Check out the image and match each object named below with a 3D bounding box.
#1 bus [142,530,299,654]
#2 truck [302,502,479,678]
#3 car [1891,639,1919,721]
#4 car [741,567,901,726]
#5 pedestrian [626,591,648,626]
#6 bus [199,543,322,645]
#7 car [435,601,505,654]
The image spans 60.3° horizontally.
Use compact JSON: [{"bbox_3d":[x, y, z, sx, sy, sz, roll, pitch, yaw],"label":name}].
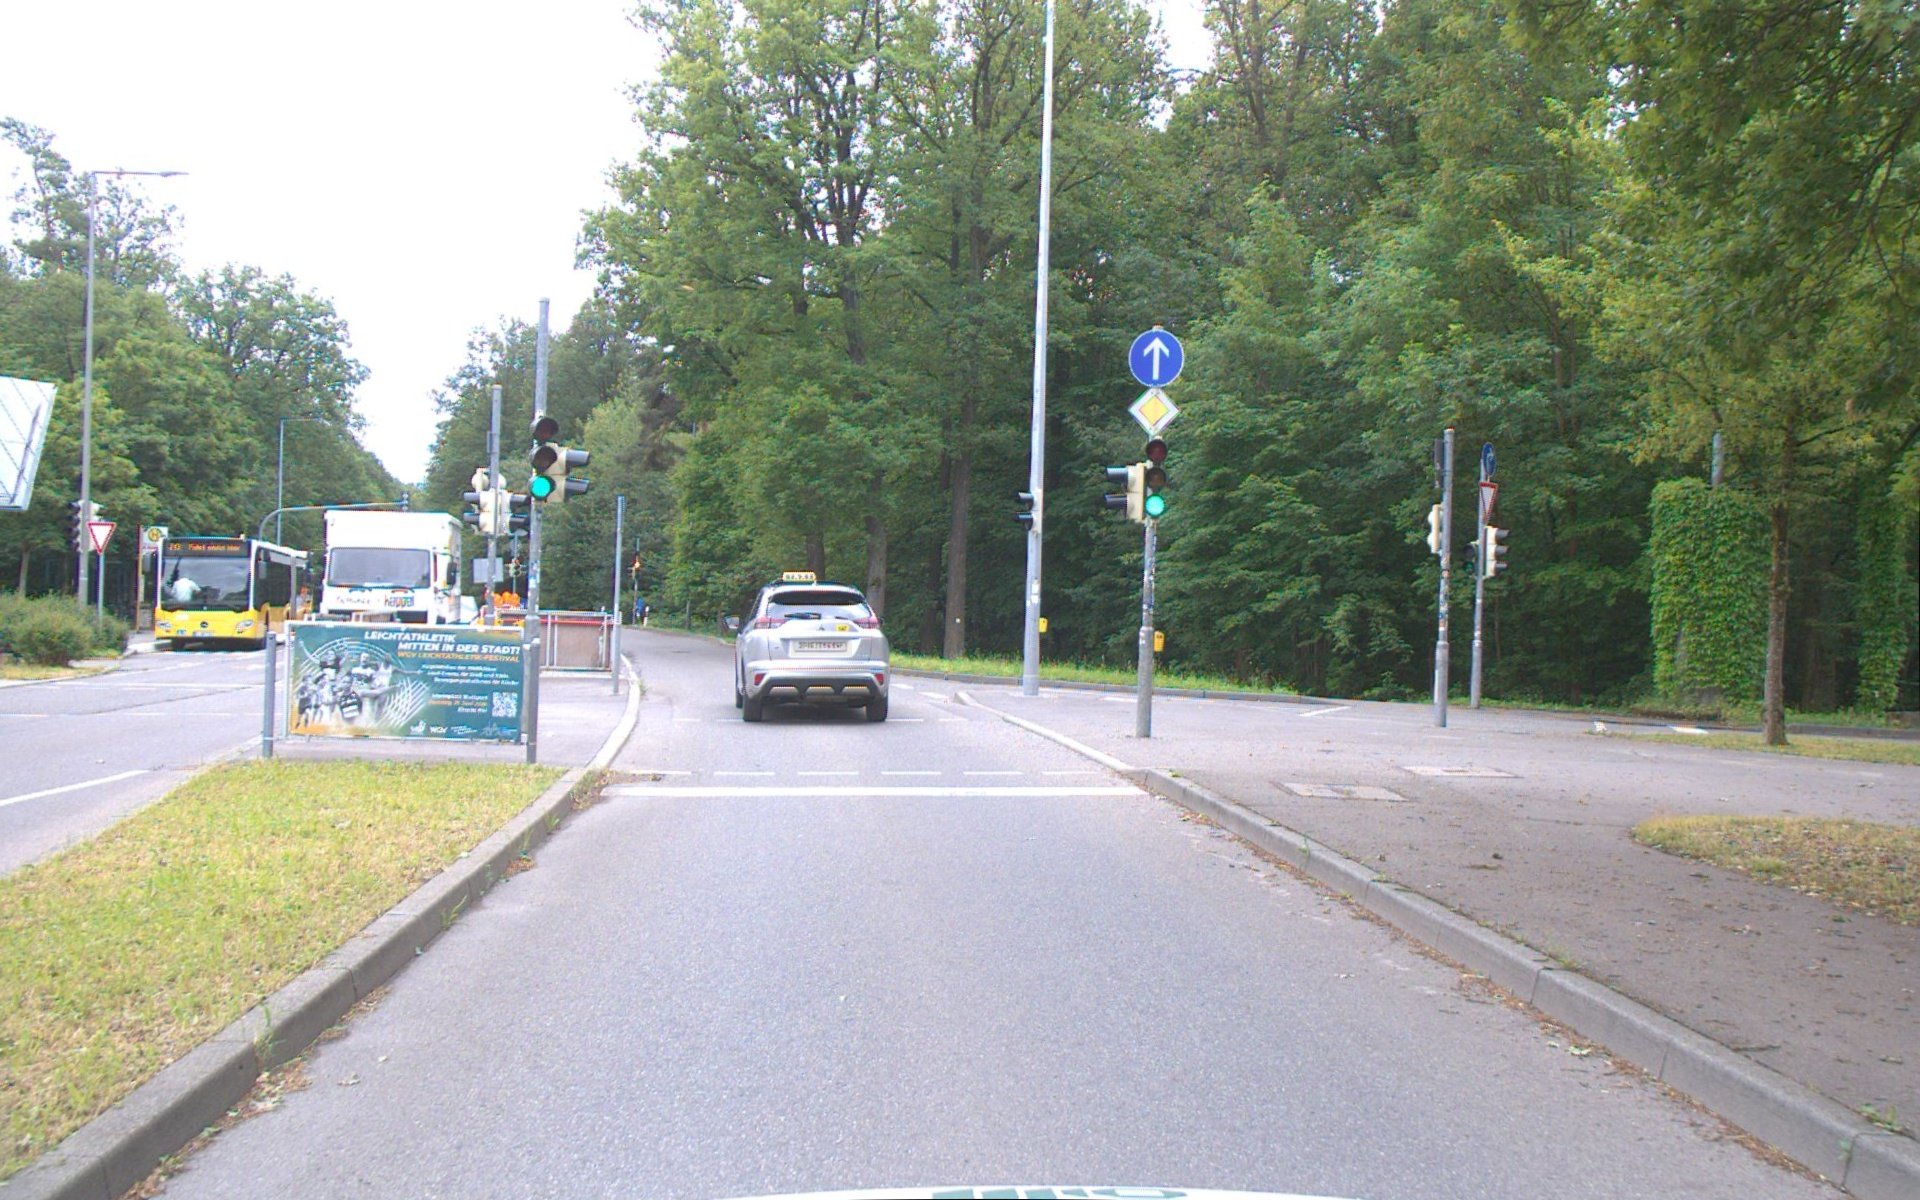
[{"bbox_3d":[-21.196,-0.184,47.944,2.853,3.182,9.713,2,-1,-17],"label":"bus"},{"bbox_3d":[-11.618,-0.180,34.240,2.582,3.295,6.190,0,0,-11],"label":"truck"},{"bbox_3d":[17.929,1.473,28.575,1.777,1.445,3.851,3,0,6],"label":"car"},{"bbox_3d":[-1.833,0.533,21.103,1.811,1.811,3.994,1,0,-7],"label":"car"},{"bbox_3d":[-15.961,0.421,81.702,1.029,1.678,1.065,0,0,-14],"label":"pedestrian"},{"bbox_3d":[-23.827,-0.160,56.748,2.853,3.182,8.653,2,-1,-17],"label":"bus"},{"bbox_3d":[-14.983,0.837,50.727,1.777,1.535,4.293,0,-1,-13],"label":"car"}]
